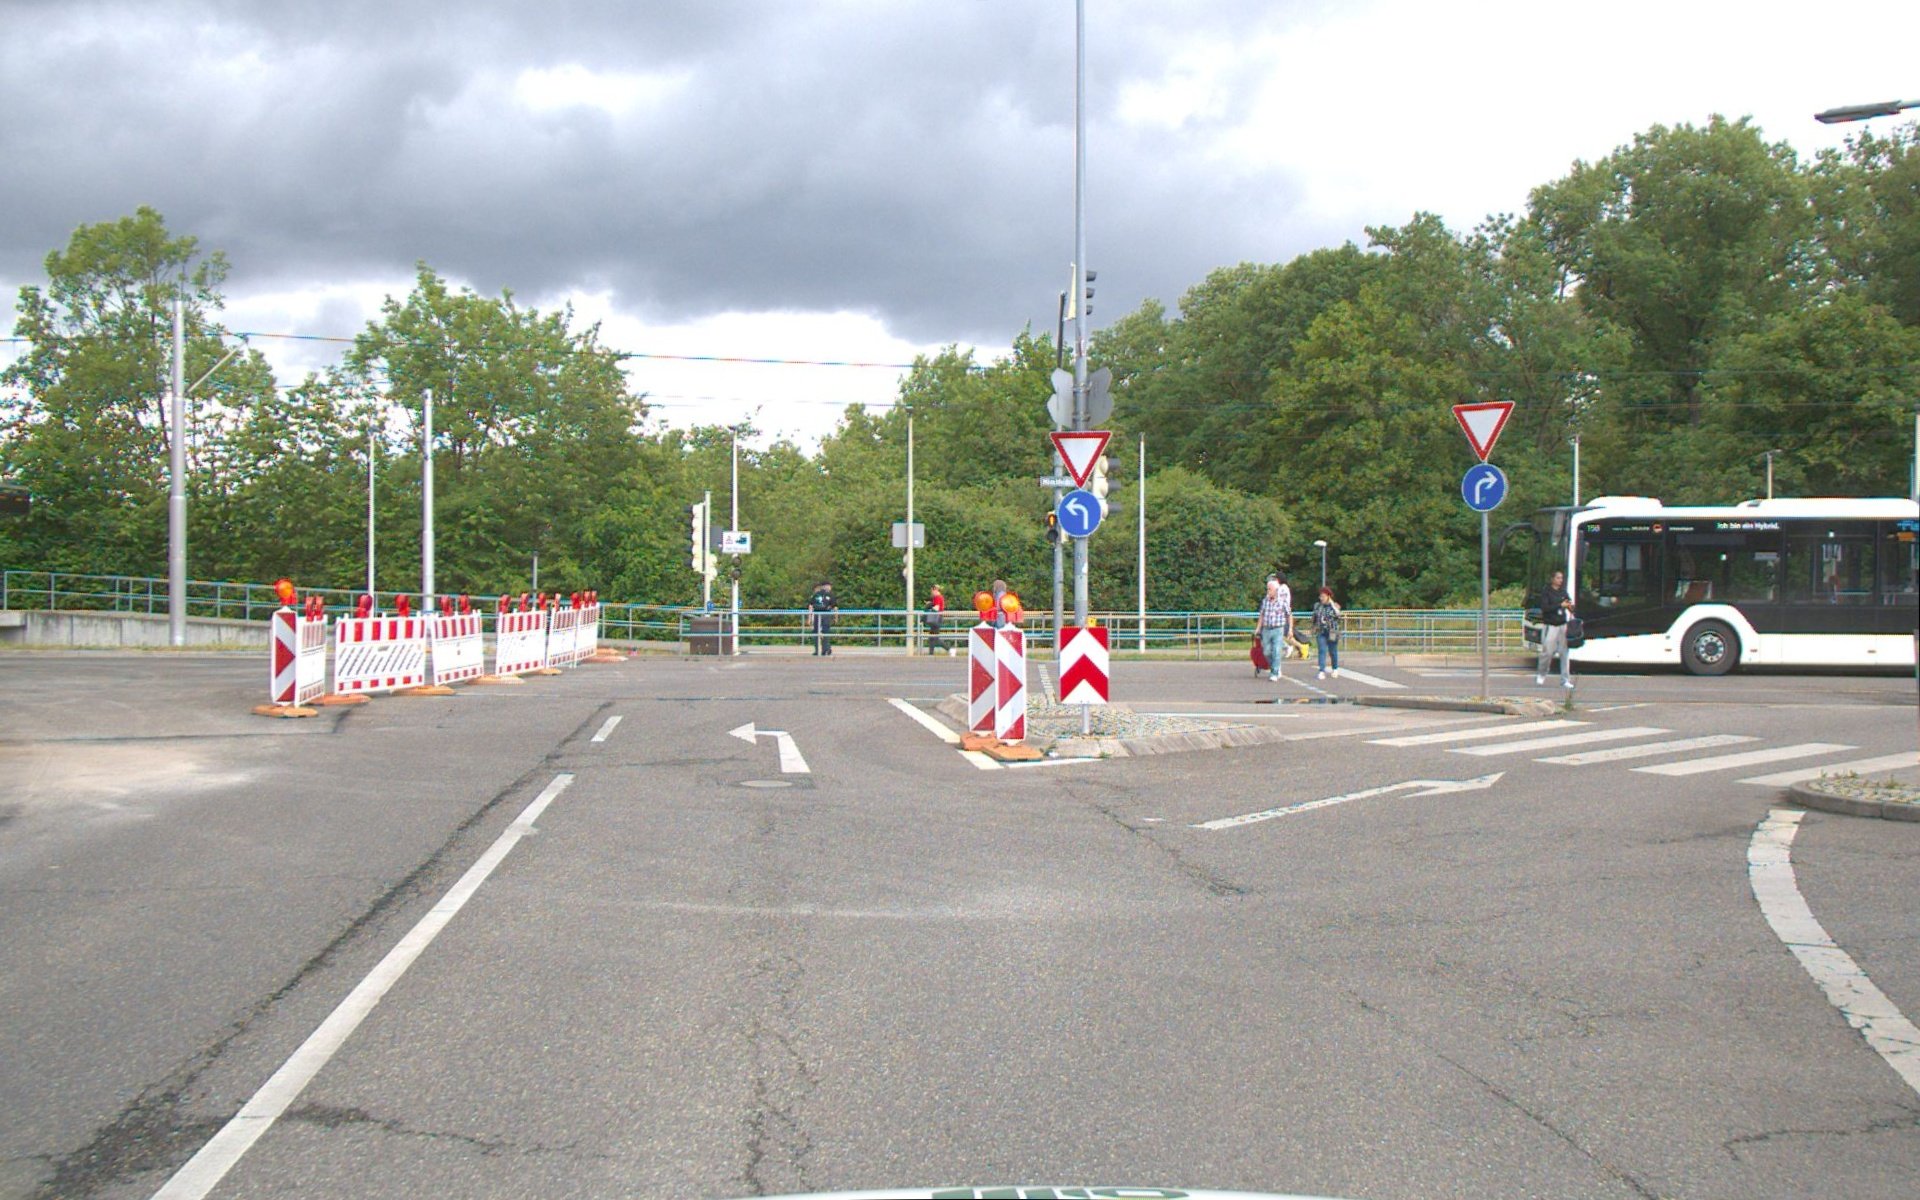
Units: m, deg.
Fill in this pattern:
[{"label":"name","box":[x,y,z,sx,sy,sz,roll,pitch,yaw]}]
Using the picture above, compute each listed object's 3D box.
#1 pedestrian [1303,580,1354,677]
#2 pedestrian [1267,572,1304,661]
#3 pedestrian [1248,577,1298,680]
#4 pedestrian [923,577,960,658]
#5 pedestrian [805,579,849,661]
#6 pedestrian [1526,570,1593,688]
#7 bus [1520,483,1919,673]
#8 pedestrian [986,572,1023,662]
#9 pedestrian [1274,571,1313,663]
[{"label":"pedestrian","box":[6.227,0.472,27.948,0.676,1.594,0.732,1,0,26]},{"label":"pedestrian","box":[6.672,0.331,33.941,0.705,1.778,0.958,1,0,9]},{"label":"pedestrian","box":[5.159,0.456,27.236,0.682,1.662,0.722,0,0,22]},{"label":"pedestrian","box":[-0.374,0.362,34.228,0.705,1.649,0.805,1,0,3]},{"label":"pedestrian","box":[-2.946,0.434,36.606,0.936,1.778,0.721,1,0,-6]},{"label":"pedestrian","box":[9.322,0.438,25.689,0.935,1.777,1.062,1,0,22]},{"label":"bus","box":[16.483,-0.389,29.726,11.905,3.259,2.676,0,0,3]},{"label":"pedestrian","box":[0.904,0.332,33.419,0.705,1.778,0.958,1,0,3]},{"label":"pedestrian","box":[6.588,0.331,32.695,0.705,1.778,0.958,1,0,9]}]
